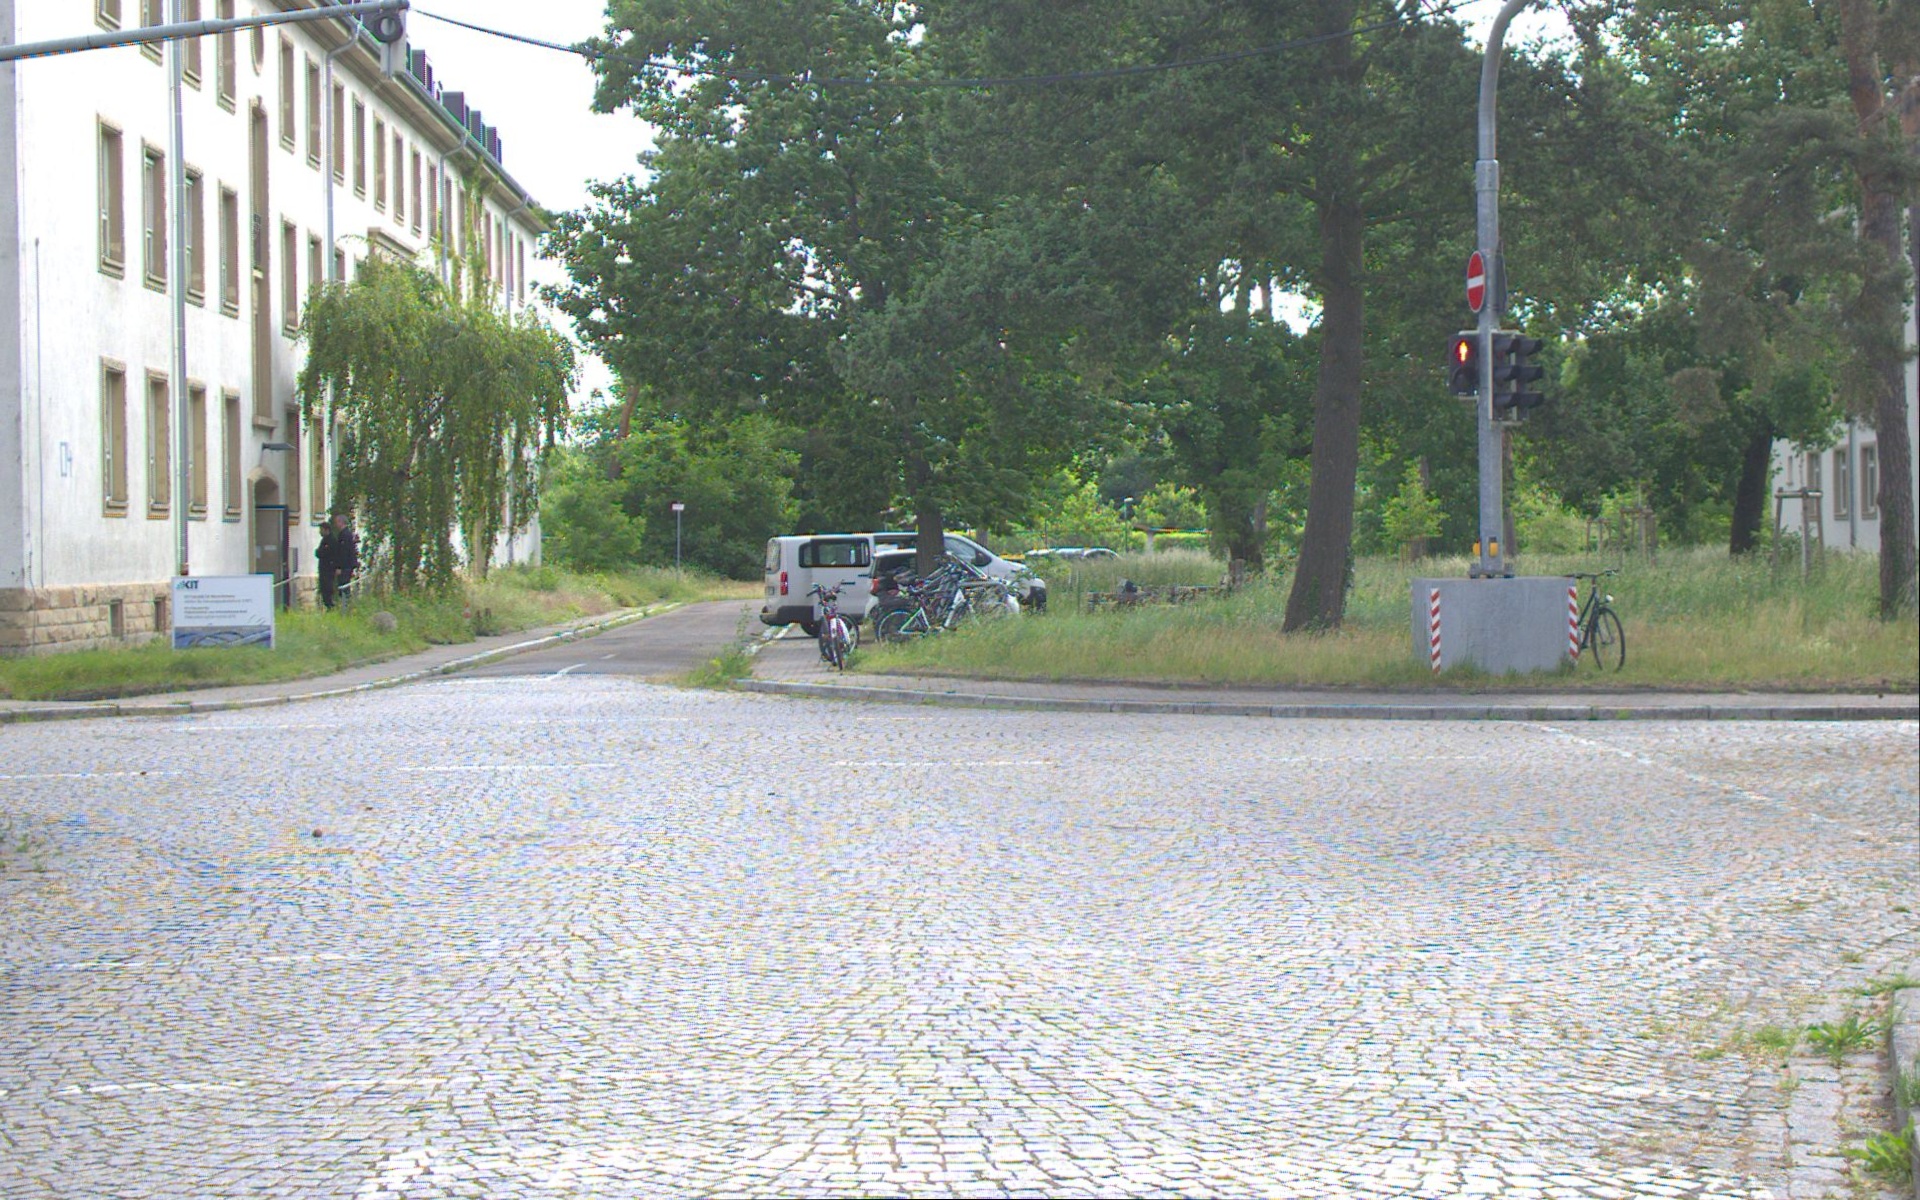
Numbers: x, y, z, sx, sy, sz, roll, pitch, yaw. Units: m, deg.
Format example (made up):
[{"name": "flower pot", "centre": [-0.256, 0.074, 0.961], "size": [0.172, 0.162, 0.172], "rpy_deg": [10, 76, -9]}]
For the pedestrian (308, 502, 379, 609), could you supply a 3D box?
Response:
[{"name": "pedestrian", "centre": [-10.955, -0.779, 61.070], "size": [1.194, 1.863, 1.550], "rpy_deg": [1, 0, -11]}]

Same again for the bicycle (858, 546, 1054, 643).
[{"name": "bicycle", "centre": [-0.075, -0.088, 49.841], "size": [2.802, 1.367, 0.951], "rpy_deg": [-1, 1, -2]}]

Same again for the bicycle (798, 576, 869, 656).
[{"name": "bicycle", "centre": [-1.637, 0.196, 44.691], "size": [0.727, 0.993, 1.978], "rpy_deg": [-1, 1, 3]}]

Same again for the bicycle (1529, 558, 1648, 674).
[{"name": "bicycle", "centre": [6.197, 0.143, 34.003], "size": [0.644, 1.059, 1.834], "rpy_deg": [-4, 1, -4]}]

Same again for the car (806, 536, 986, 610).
[{"name": "car", "centre": [-1.479, -0.619, 77.926], "size": [3.986, 1.594, 1.704], "rpy_deg": [-1, 1, -4]}]

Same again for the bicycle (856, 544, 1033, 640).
[{"name": "bicycle", "centre": [-0.246, -0.125, 50.801], "size": [2.567, 1.367, 0.951], "rpy_deg": [-1, 1, -2]}]

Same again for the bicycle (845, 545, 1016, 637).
[{"name": "bicycle", "centre": [-0.466, -0.140, 52.476], "size": [2.567, 1.367, 0.951], "rpy_deg": [-1, 1, -2]}]

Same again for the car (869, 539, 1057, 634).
[{"name": "car", "centre": [0.028, -0.235, 60.614], "size": [3.224, 1.615, 1.938], "rpy_deg": [1, 0, -2]}]

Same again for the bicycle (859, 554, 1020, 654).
[{"name": "bicycle", "centre": [-0.286, 0.048, 45.998], "size": [2.113, 1.302, 0.874], "rpy_deg": [-1, 1, -2]}]

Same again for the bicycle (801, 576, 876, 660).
[{"name": "bicycle", "centre": [-1.509, 0.212, 42.601], "size": [0.900, 0.993, 1.979], "rpy_deg": [-1, 1, -2]}]

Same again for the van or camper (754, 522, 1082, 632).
[{"name": "van or camper", "centre": [-0.809, -0.448, 64.108], "size": [5.740, 1.950, 2.238], "rpy_deg": [-1, 1, -13]}]

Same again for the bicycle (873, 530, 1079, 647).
[{"name": "bicycle", "centre": [0.212, -0.161, 47.486], "size": [2.802, 1.578, 0.951], "rpy_deg": [-1, 1, -2]}]

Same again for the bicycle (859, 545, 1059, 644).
[{"name": "bicycle", "centre": [-0.022, -0.080, 48.948], "size": [2.802, 1.367, 0.951], "rpy_deg": [-1, 1, -2]}]

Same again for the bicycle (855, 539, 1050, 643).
[{"name": "bicycle", "centre": [-0.112, -0.130, 46.611], "size": [2.619, 1.362, 0.874], "rpy_deg": [-1, 1, -2]}]

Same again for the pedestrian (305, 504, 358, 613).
[{"name": "pedestrian", "centre": [-11.313, -0.743, 61.857], "size": [0.865, 1.925, 0.837], "rpy_deg": [1, 0, -13]}]

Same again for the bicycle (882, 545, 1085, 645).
[{"name": "bicycle", "centre": [0.318, -0.073, 48.419], "size": [2.802, 1.367, 0.951], "rpy_deg": [-1, 1, -2]}]

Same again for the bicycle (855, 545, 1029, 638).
[{"name": "bicycle", "centre": [-0.281, -0.131, 51.641], "size": [2.567, 1.367, 0.951], "rpy_deg": [-1, 1, -2]}]
